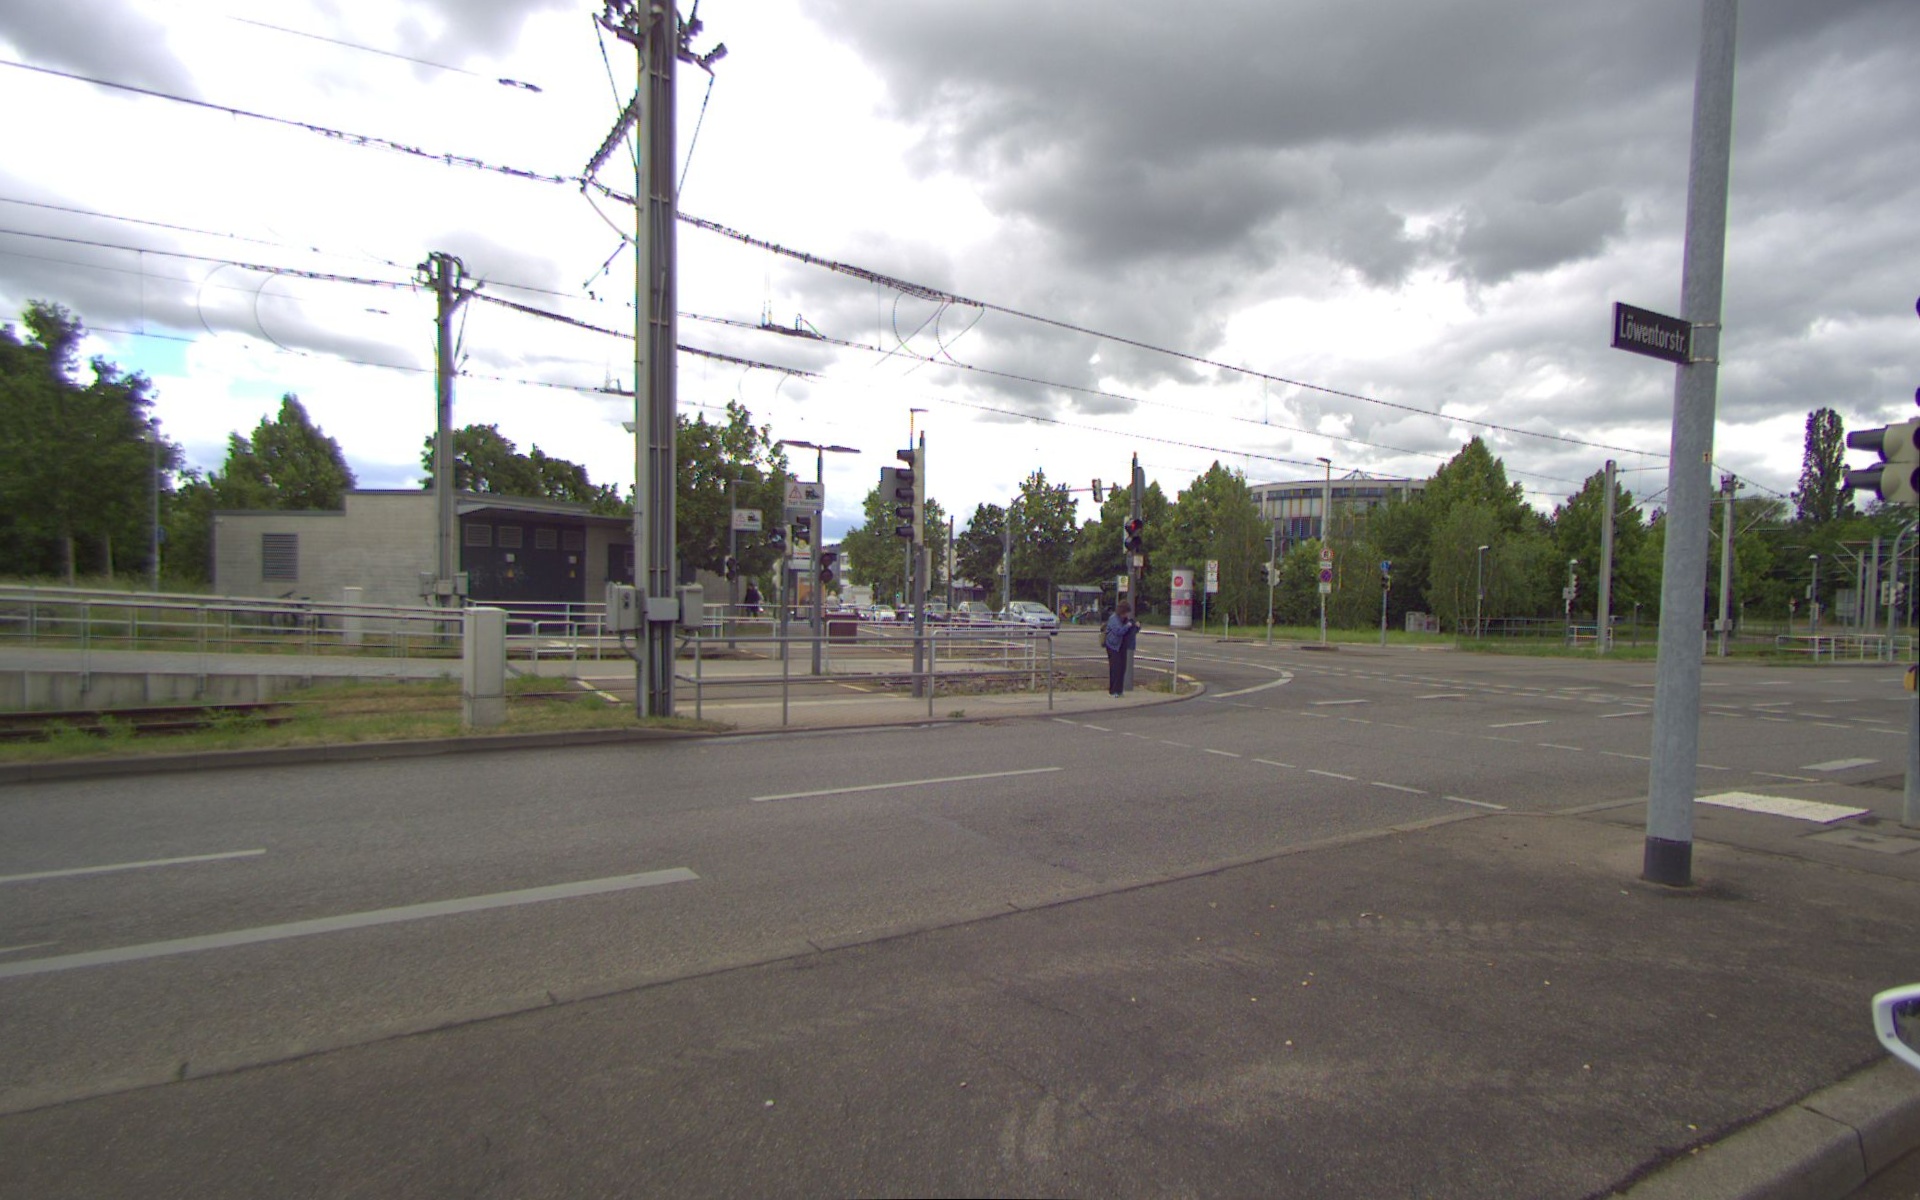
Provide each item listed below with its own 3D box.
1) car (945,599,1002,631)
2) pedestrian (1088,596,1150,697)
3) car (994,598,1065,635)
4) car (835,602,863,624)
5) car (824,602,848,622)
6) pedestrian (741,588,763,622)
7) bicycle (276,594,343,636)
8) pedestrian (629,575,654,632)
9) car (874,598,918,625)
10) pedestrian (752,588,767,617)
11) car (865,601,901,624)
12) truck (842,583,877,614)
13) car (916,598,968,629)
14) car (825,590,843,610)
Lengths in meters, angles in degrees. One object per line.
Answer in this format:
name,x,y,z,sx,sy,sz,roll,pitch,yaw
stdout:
car,0.661,0.788,53.861,1.776,1.617,3.982,2,0,-20
pedestrian,2.545,0.731,16.061,0.712,1.557,0.630,2,0,-33
car,3.192,0.729,46.894,1.848,1.617,3.982,2,0,-20
car,-9.669,1.125,87.018,1.869,1.805,3.988,1,0,-14
car,-11.644,1.093,94.321,1.869,1.805,3.990,1,0,-13
pedestrian,-8.477,0.199,40.938,0.590,1.377,0.616,2,0,18
bicycle,-17.346,0.393,26.768,1.778,1.045,0.536,2,0,21
pedestrian,-10.155,0.114,32.003,0.700,1.751,0.674,2,0,-19
car,-4.156,0.690,64.571,1.776,1.617,3.982,2,0,-20
pedestrian,-10.914,0.140,54.697,0.633,1.557,0.521,2,0,-2
car,-5.771,0.917,74.894,1.775,1.617,3.985,2,0,-17
truck,-12.341,-0.228,122.747,2.965,3.580,9.258,1,0,-13
car,-1.070,0.755,58.034,1.776,1.617,3.982,2,0,-20
car,-14.846,-0.010,118.064,1.964,2.218,5.800,1,0,-9
